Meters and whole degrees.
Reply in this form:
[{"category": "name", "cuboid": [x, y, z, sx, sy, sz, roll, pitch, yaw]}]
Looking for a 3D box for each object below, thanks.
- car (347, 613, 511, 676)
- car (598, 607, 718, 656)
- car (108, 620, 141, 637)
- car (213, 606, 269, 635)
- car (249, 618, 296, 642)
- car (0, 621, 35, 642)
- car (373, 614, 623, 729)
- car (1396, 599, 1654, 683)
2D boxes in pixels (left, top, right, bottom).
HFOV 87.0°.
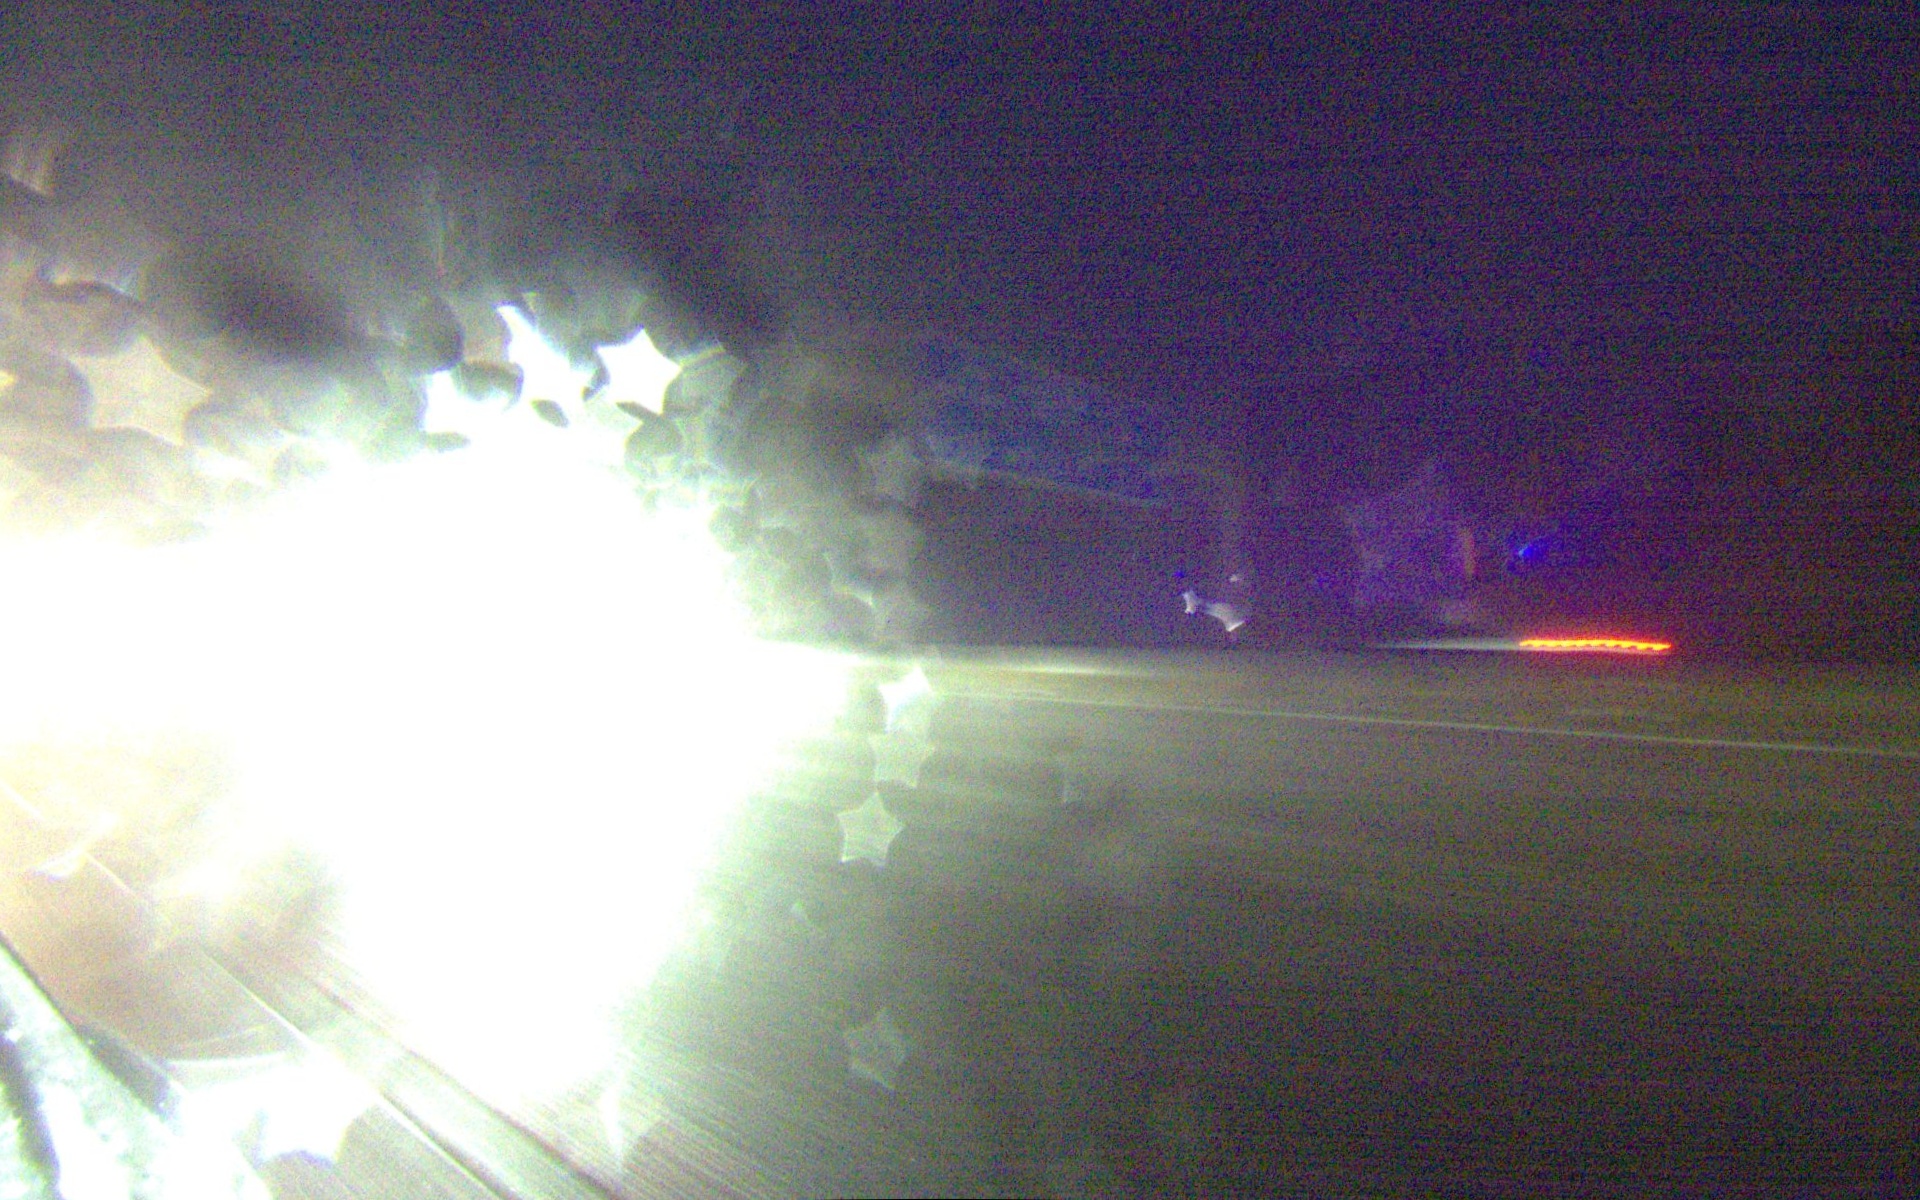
[{"category": "car", "cuboid": [-14.186, 1.105, 26.901, 5.159, 1.487, 1.974, -1, 0, 39]}, {"category": "car", "cuboid": [-10.565, 1.063, 35.311, 4.456, 1.569, 1.861, -1, 0, 40]}, {"category": "car", "cuboid": [-91.915, 3.104, 111.308, 4.557, 1.734, 1.862, -1, 0, 39]}, {"category": "car", "cuboid": [-48.592, 1.359, 68.379, 5.056, 1.857, 1.861, -1, 0, 40]}, {"category": "car", "cuboid": [-53.929, 2.328, 79.342, 4.558, 1.734, 1.861, -1, 0, 39]}, {"category": "car", "cuboid": [-76.006, 2.526, 81.373, 4.586, 1.572, 1.972, -1, 0, 42]}, {"category": "car", "cuboid": [-7.027, 0.964, 15.228, 3.998, 1.452, 1.973, -1, 0, 41]}, {"category": "car", "cuboid": [11.765, 0.795, 21.232, 4.456, 1.569, 1.861, -1, 0, 40]}]
